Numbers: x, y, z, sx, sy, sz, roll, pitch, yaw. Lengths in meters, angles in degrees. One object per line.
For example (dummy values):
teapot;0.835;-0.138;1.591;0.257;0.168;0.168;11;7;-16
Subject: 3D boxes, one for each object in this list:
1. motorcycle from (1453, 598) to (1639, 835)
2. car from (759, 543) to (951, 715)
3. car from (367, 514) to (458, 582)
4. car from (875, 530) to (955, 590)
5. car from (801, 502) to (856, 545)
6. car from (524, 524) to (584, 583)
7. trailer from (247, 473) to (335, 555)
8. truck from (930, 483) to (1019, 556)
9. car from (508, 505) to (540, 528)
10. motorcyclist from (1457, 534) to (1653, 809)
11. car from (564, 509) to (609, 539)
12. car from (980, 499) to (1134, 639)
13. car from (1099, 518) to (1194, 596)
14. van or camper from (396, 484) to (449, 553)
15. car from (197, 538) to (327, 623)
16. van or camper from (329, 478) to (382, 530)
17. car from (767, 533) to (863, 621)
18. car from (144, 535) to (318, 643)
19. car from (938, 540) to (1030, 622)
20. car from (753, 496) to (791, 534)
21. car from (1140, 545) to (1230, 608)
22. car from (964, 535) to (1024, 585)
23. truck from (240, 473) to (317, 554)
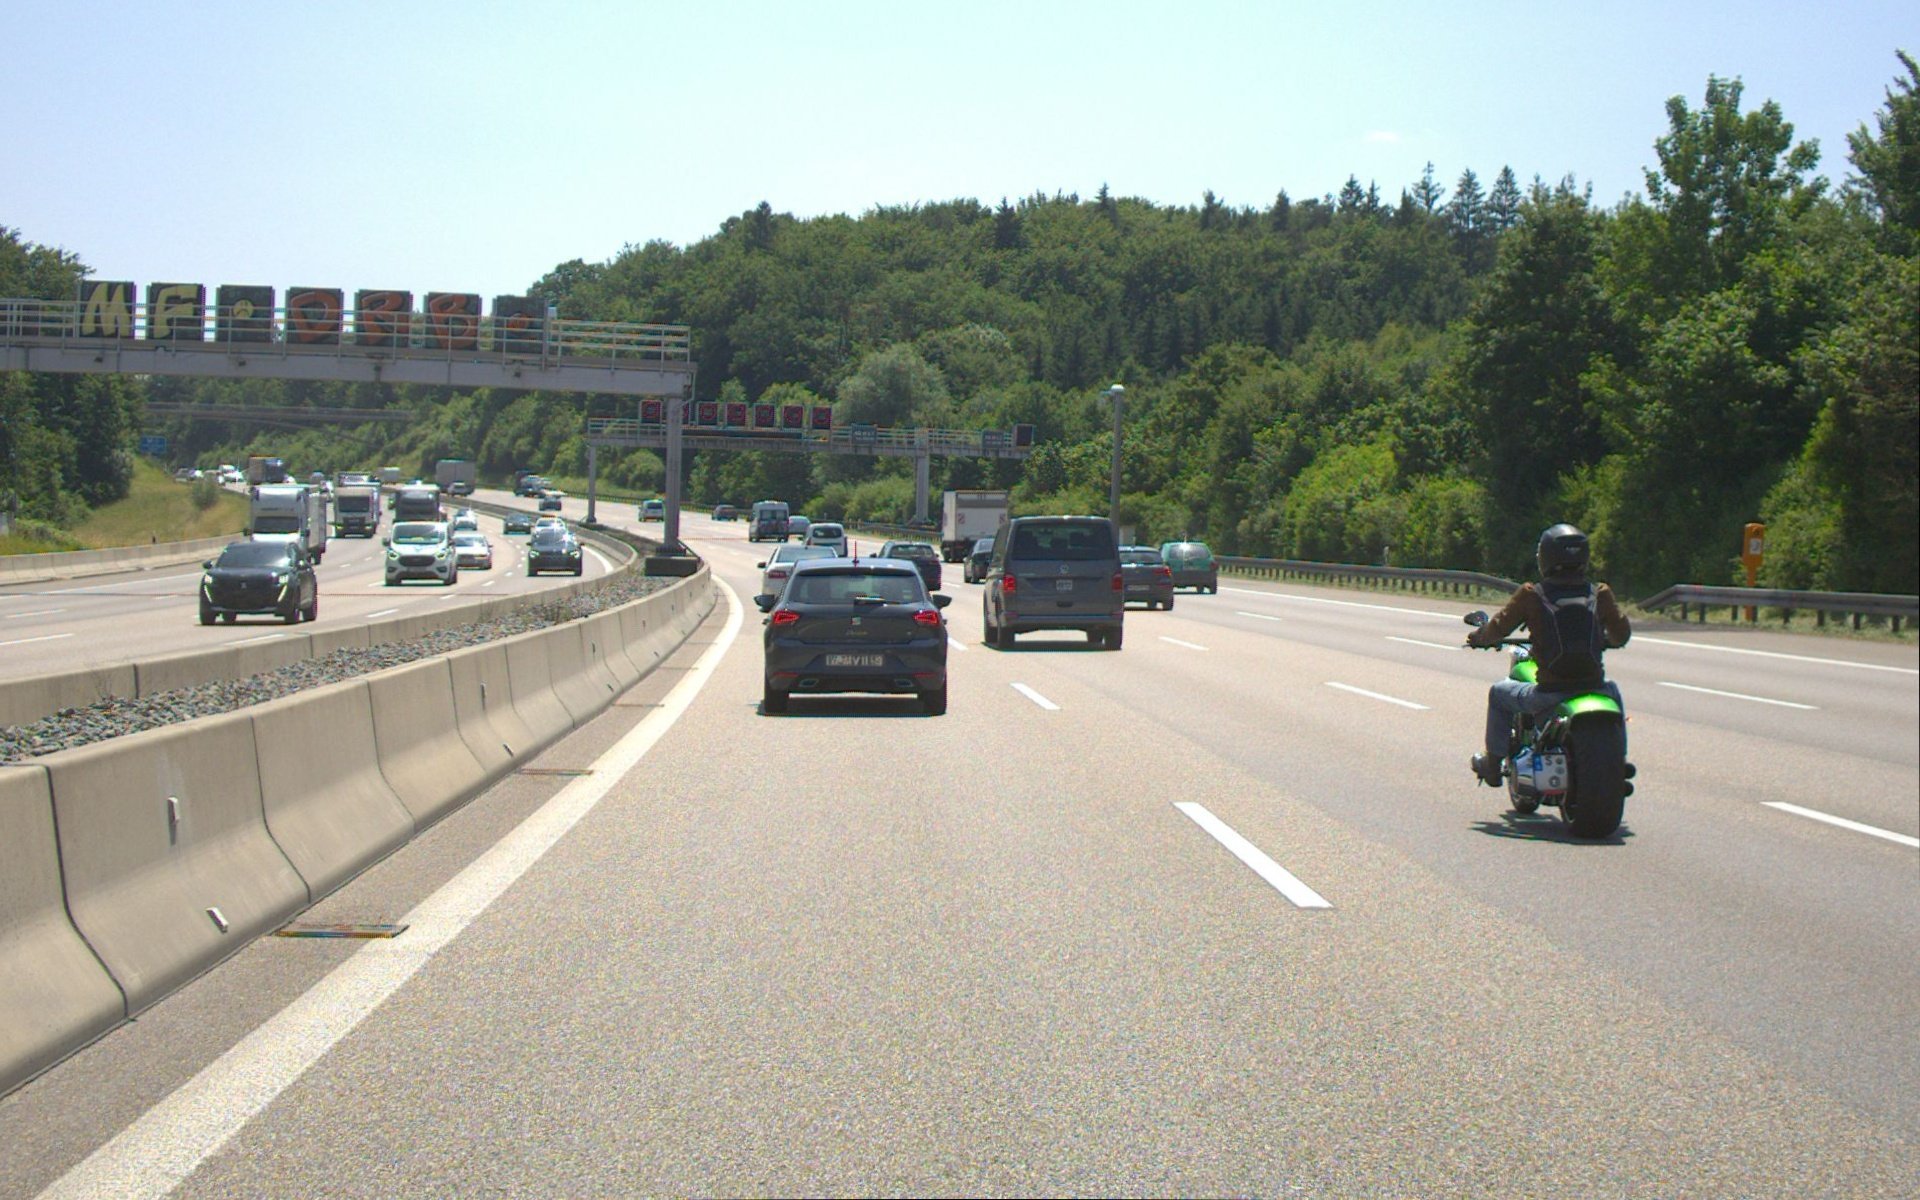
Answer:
motorcycle;3.165;0.594;18.758;0.535;1.131;2.437;0;2;-1
car;-0.960;0.228;32.950;1.708;1.428;4.001;1;2;0
car;-17.058;-1.613;107.381;2.195;2.048;7.142;0;1;-4
car;-1.345;-1.181;101.006;1.993;1.722;4.150;0;1;-6
car;-5.635;-3.295;147.266;2.103;1.738;4.689;0;3;-5
car;-14.455;-1.636;122.617;1.993;2.007;4.001;1;0;-6
trailer;-27.765;-3.501;143.027;2.474;3.143;10.481;1;0;-5
truck;0.609;-3.704;156.520;2.985;3.155;7.577;0;3;-8
car;-30.726;-5.889;242.445;1.993;1.584;4.845;0;1;-4
motorcyclist;3.181;0.366;18.471;0.852;1.422;1.023;0;2;-1
car;-18.742;-3.821;172.761;2.047;1.437;5.222;0;1;-4
car;1.429;-0.449;52.646;1.962;2.026;5.084;0;0;-3
car;4.181;-0.981;77.752;1.849;1.722;4.000;0;1;-1
van or camper;-29.340;-4.435;187.936;2.429;3.665;7.760;0;1;-6
car;-13.152;-0.367;64.989;1.675;1.521;4.611;1;0;-3
van or camper;-39.565;-6.245;225.039;2.764;3.114;8.096;1;0;-6
car;-3.153;-0.486;75.512;2.012;1.839;4.000;0;-1;-1
car;-12.395;-0.226;58.746;2.287;1.722;5.032;0;1;-5
car;0.499;-0.405;75.305;1.945;1.706;4.000;1;0;0
car;-11.764;-5.329;215.660;2.265;2.363;4.702;0;2;-2
car;6.283;-0.685;96.393;1.993;1.722;4.001;0;1;-4
car;1.064;-1.306;110.959;1.665;1.403;4.904;1;3;-2
truck;-27.331;-3.461;138.050;2.487;3.156;4.403;1;1;-5
